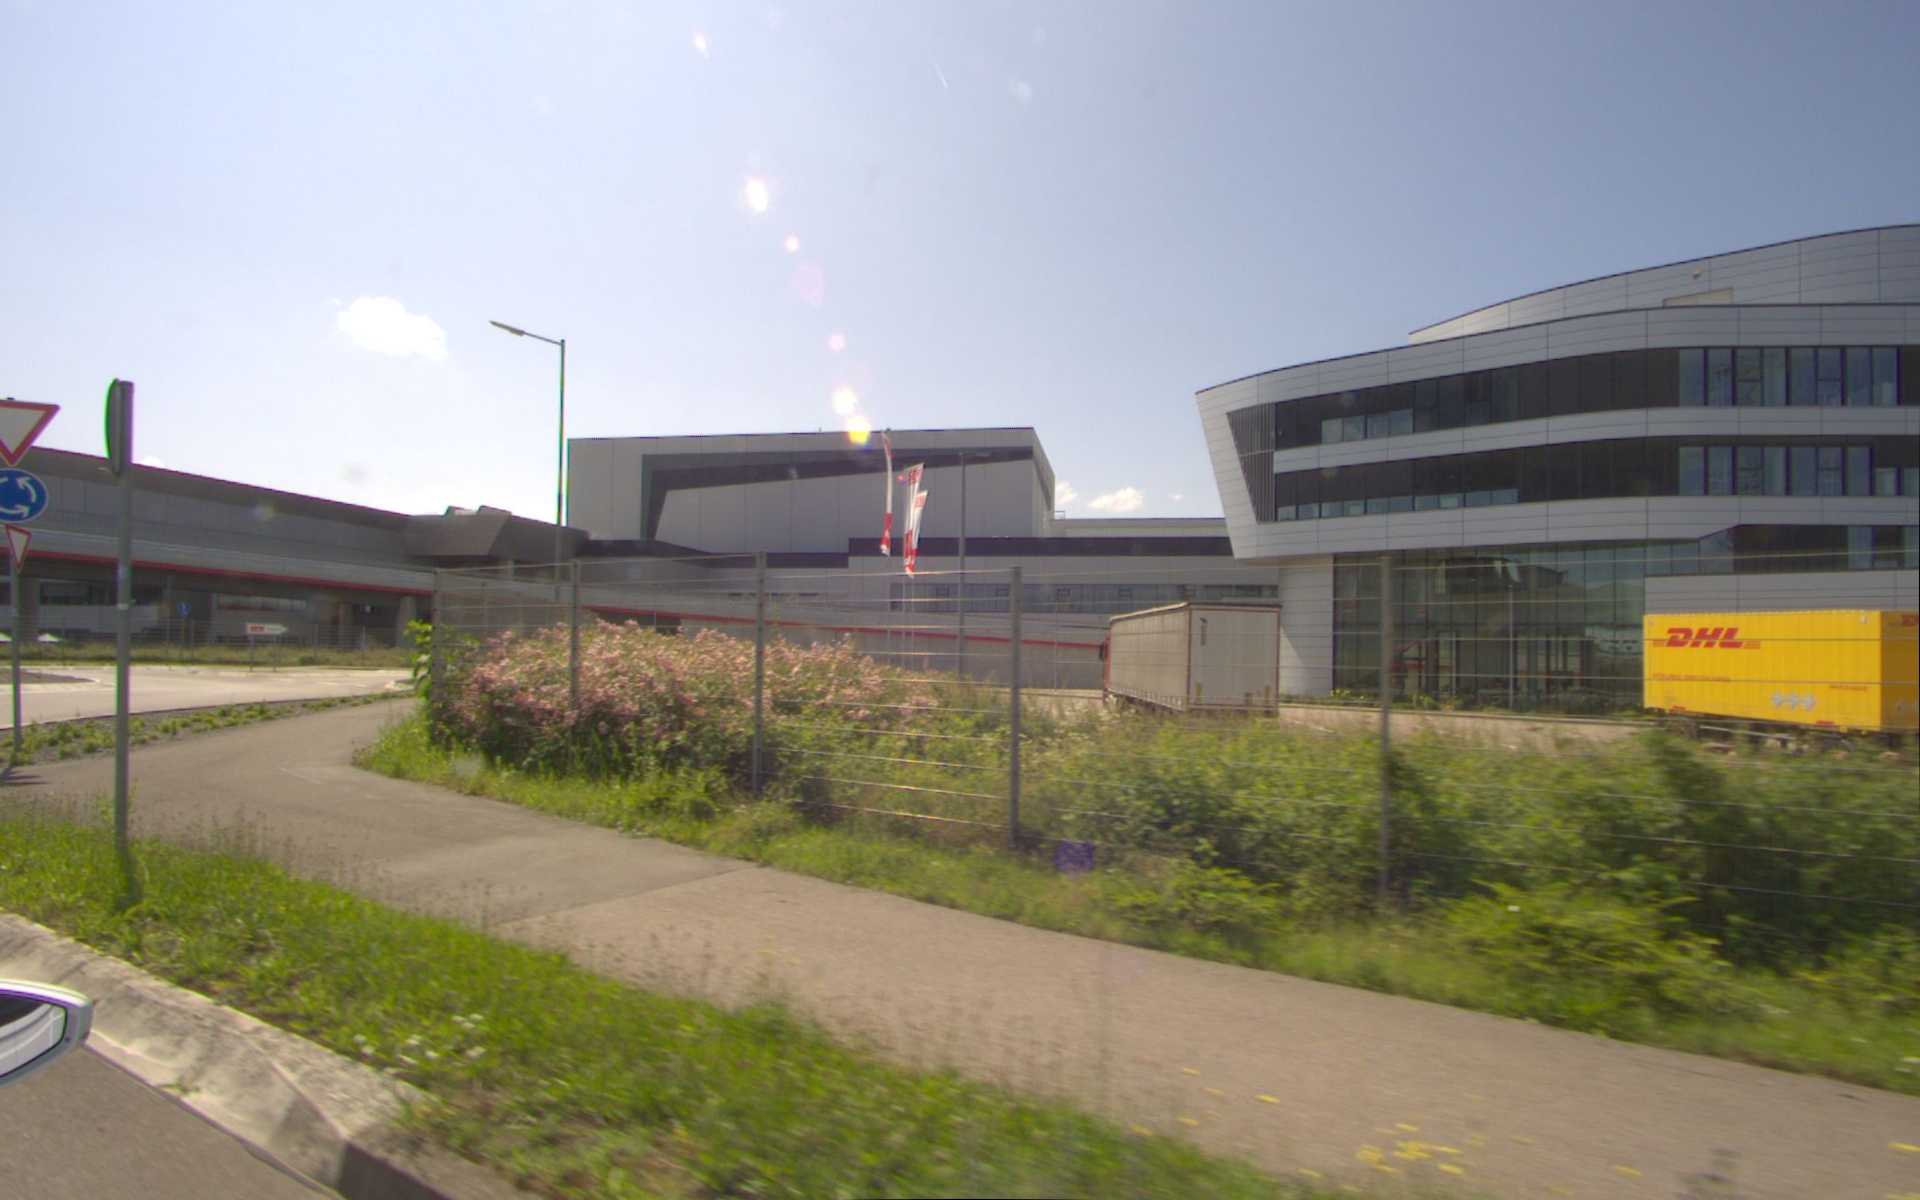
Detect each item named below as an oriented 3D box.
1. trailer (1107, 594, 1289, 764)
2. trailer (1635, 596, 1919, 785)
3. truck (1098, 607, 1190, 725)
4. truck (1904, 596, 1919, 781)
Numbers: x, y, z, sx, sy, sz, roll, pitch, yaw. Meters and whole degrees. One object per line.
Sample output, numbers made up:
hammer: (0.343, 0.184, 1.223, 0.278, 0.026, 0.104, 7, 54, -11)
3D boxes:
trailer: (7.331, 2.338, 33.542, 2.712, 4.494, 14.070, 0, -2, 0)
trailer: (23.108, 2.240, 27.509, 2.845, 4.350, 8.719, 0, -2, -3)
truck: (7.337, 2.586, 40.587, 2.712, 4.479, 5.293, 0, -2, 0)
truck: (23.257, 1.830, 17.761, 2.767, 4.225, 10.979, 0, -2, 1)
